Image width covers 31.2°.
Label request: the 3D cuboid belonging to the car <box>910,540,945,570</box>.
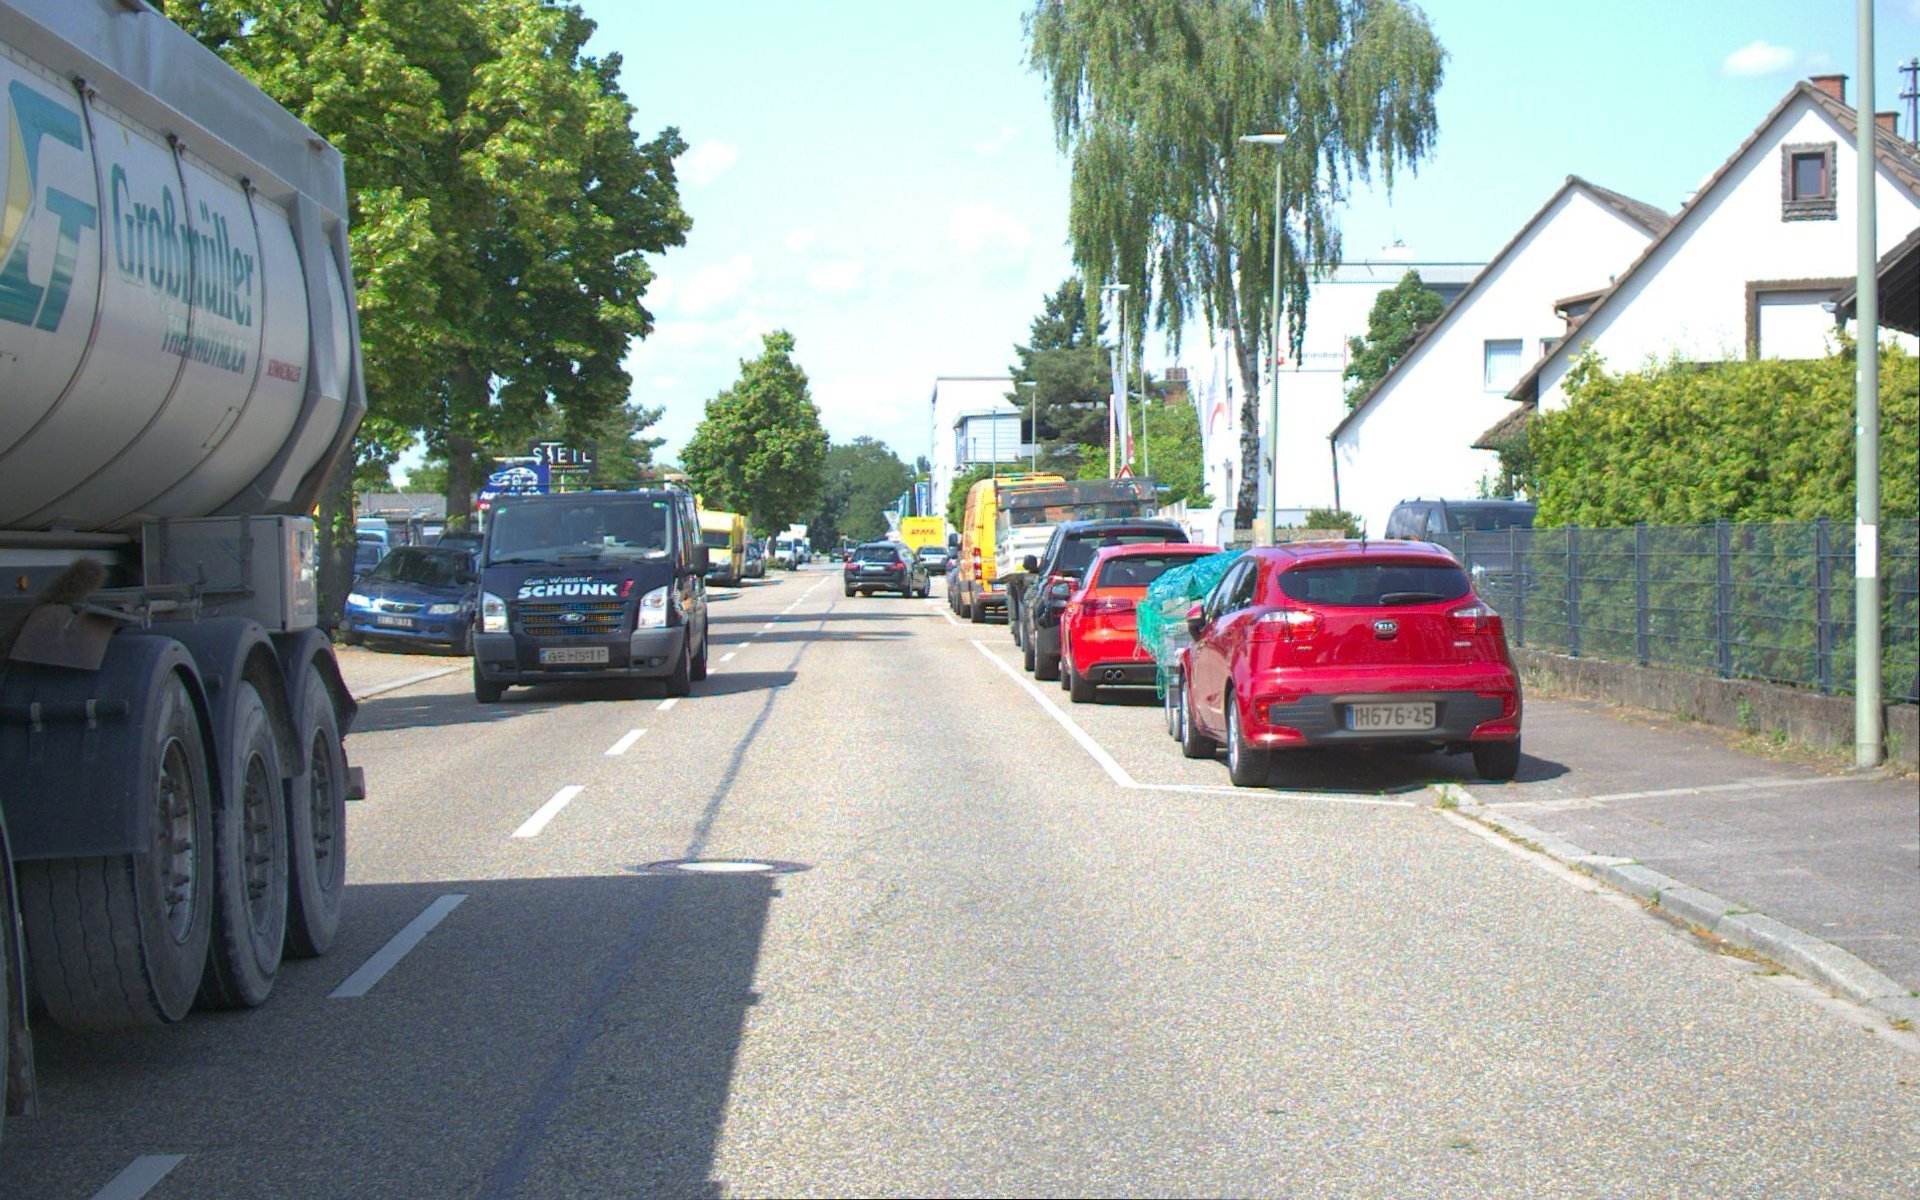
[{"bbox_3d":[-1.599,-2.233,168.799,1.651,1.382,4.423,1,1,-1],"label":"car"}]

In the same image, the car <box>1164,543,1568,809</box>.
[{"bbox_3d":[2.385,0.382,21.371,1.691,1.458,4.757,0,1,-3],"label":"car"}]

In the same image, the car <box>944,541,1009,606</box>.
[{"bbox_3d":[0.424,-0.699,88.287,1.610,1.575,4.000,1,1,0],"label":"car"}]

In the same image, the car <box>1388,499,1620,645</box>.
[{"bbox_3d":[7.285,-0.408,46.553,1.856,1.859,5.022,0,1,-6],"label":"car"}]

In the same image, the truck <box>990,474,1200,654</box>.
[{"bbox_3d":[1.763,-0.515,47.109,2.522,2.291,5.896,-1,1,-1],"label":"truck"}]

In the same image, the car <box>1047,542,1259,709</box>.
[{"bbox_3d":[1.726,0.189,31.842,1.684,1.430,4.146,0,1,0],"label":"car"}]

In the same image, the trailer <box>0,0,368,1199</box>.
[{"bbox_3d":[-3.586,-0.204,9.728,2.834,3.058,8.891,0,1,-4],"label":"trailer"}]

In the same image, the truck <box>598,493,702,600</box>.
[{"bbox_3d":[-8.669,-1.519,96.718,2.220,2.847,7.069,1,1,0],"label":"truck"}]

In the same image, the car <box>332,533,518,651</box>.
[{"bbox_3d":[-7.321,-0.144,47.403,1.699,1.478,4.158,2,1,2],"label":"car"}]

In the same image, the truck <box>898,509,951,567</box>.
[{"bbox_3d":[-1.875,-3.252,180.355,2.474,2.930,7.189,1,1,-3],"label":"truck"}]

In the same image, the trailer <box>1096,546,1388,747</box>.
[{"bbox_3d":[2.042,0.292,26.008,1.608,1.373,4.433,0,1,-3],"label":"trailer"}]

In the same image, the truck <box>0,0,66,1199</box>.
[{"bbox_3d":[-3.281,-0.299,4.731,2.772,3.487,5.882,0,1,-3],"label":"truck"}]

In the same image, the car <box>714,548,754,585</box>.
[{"bbox_3d":[-10.393,-1.546,158.212,1.724,1.598,4.415,3,1,-3],"label":"car"}]

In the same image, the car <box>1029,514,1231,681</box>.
[{"bbox_3d":[1.738,-0.064,36.495,1.830,1.656,4.554,0,1,-1],"label":"car"}]

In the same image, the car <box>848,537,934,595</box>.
[{"bbox_3d":[-1.826,-0.929,92.183,1.429,1.513,3.014,0,1,17],"label":"car"}]

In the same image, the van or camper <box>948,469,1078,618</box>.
[{"bbox_3d":[0.938,-1.072,64.258,1.993,2.655,5.770,0,1,-3],"label":"van or camper"}]

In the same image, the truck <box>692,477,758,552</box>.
[{"bbox_3d":[-9.534,-3.448,139.939,2.316,2.853,7.105,2,1,-2],"label":"truck"}]

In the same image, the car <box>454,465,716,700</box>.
[{"bbox_3d":[-3.521,-0.201,33.193,2.051,2.027,5.142,-2,1,-2],"label":"car"}]

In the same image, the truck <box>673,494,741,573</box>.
[{"bbox_3d":[-9.498,-2.484,129.639,2.269,2.845,7.175,1,0,-2],"label":"truck"}]

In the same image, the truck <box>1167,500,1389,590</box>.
[{"bbox_3d":[9.303,-1.624,100.476,6.039,2.568,2.567,-1,1,-27],"label":"truck"}]
